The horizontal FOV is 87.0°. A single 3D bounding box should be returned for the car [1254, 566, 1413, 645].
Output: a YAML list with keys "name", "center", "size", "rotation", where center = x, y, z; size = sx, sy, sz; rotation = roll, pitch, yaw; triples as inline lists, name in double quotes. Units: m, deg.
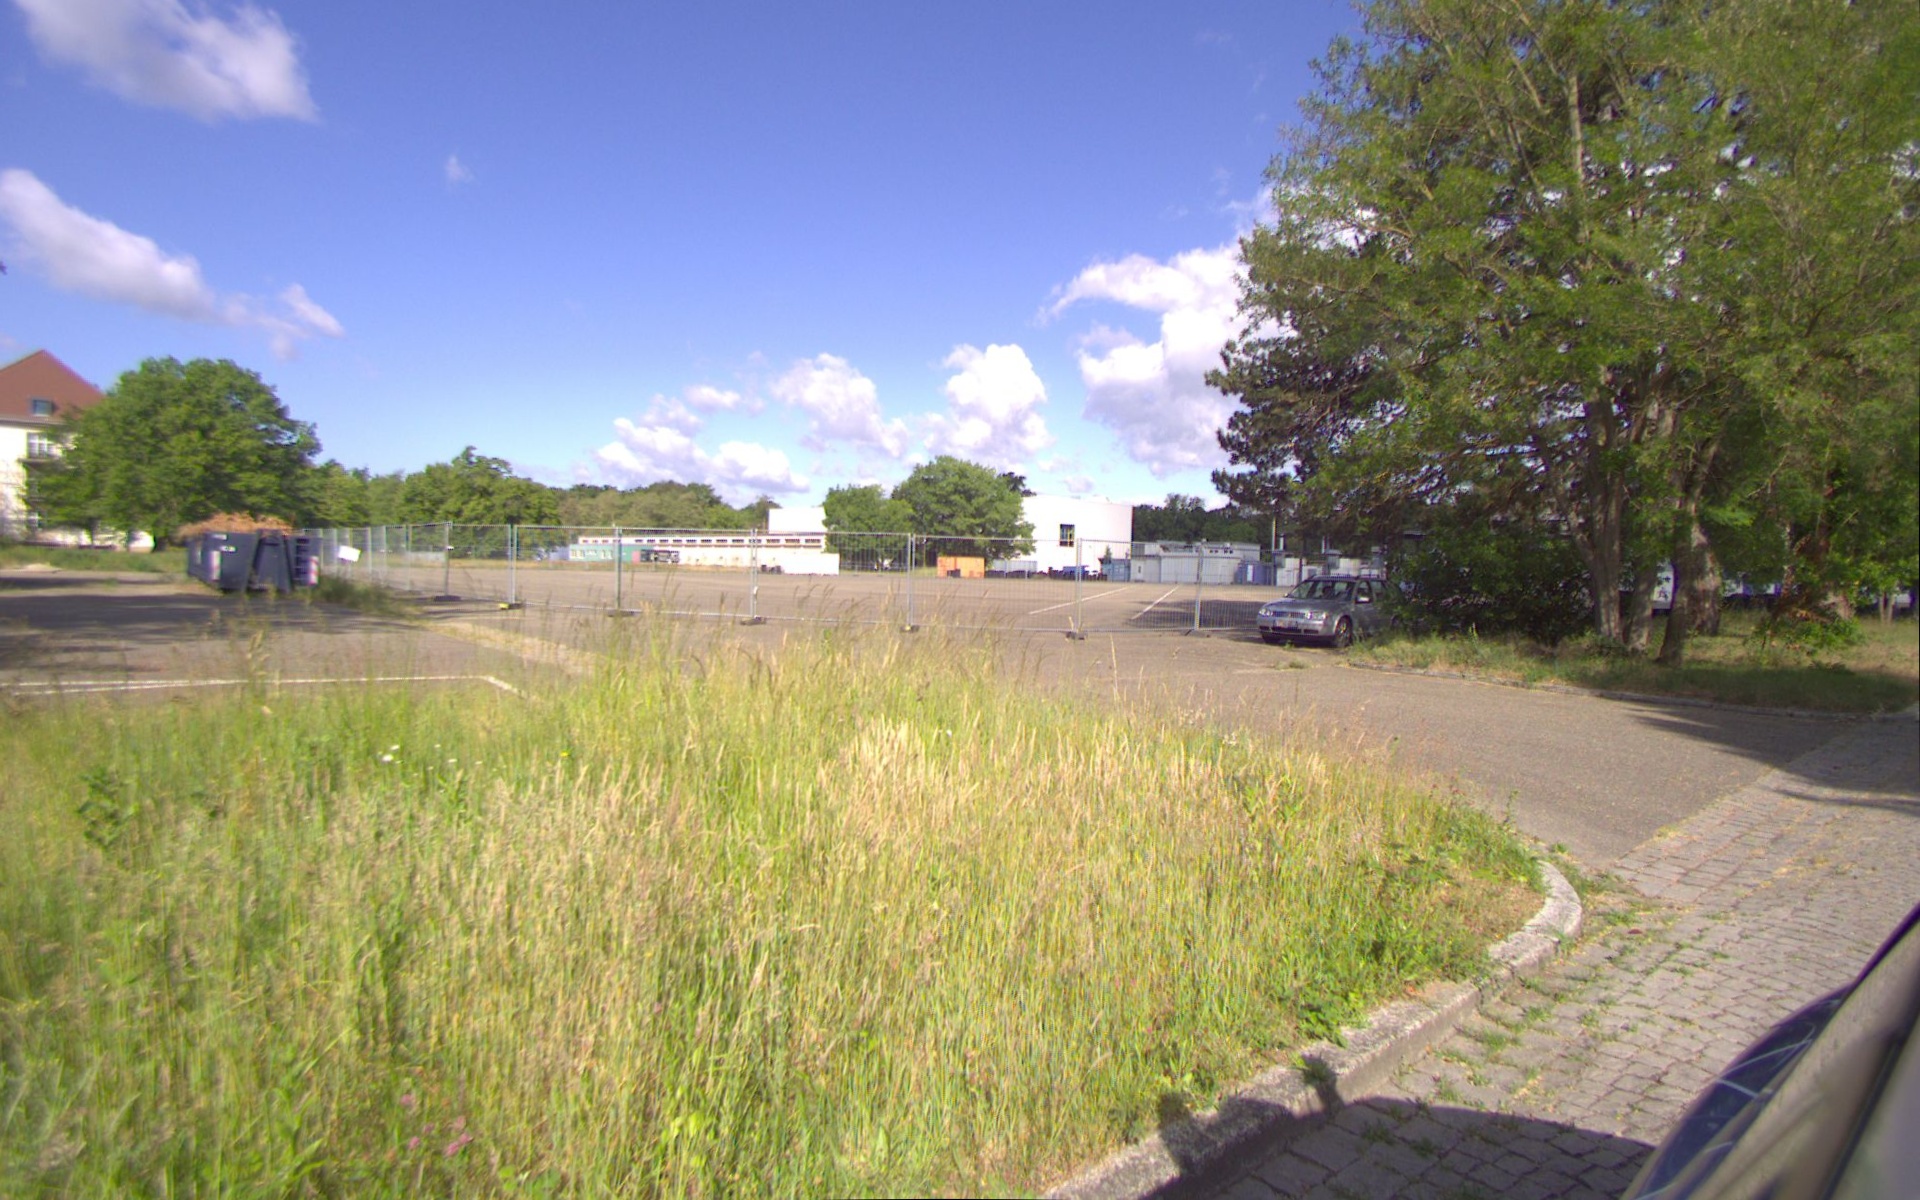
- name: "car"
  center: [7.901, 0.071, 21.221]
  size: [3.921, 1.461, 1.576]
  rotation: [0, 3, -44]
